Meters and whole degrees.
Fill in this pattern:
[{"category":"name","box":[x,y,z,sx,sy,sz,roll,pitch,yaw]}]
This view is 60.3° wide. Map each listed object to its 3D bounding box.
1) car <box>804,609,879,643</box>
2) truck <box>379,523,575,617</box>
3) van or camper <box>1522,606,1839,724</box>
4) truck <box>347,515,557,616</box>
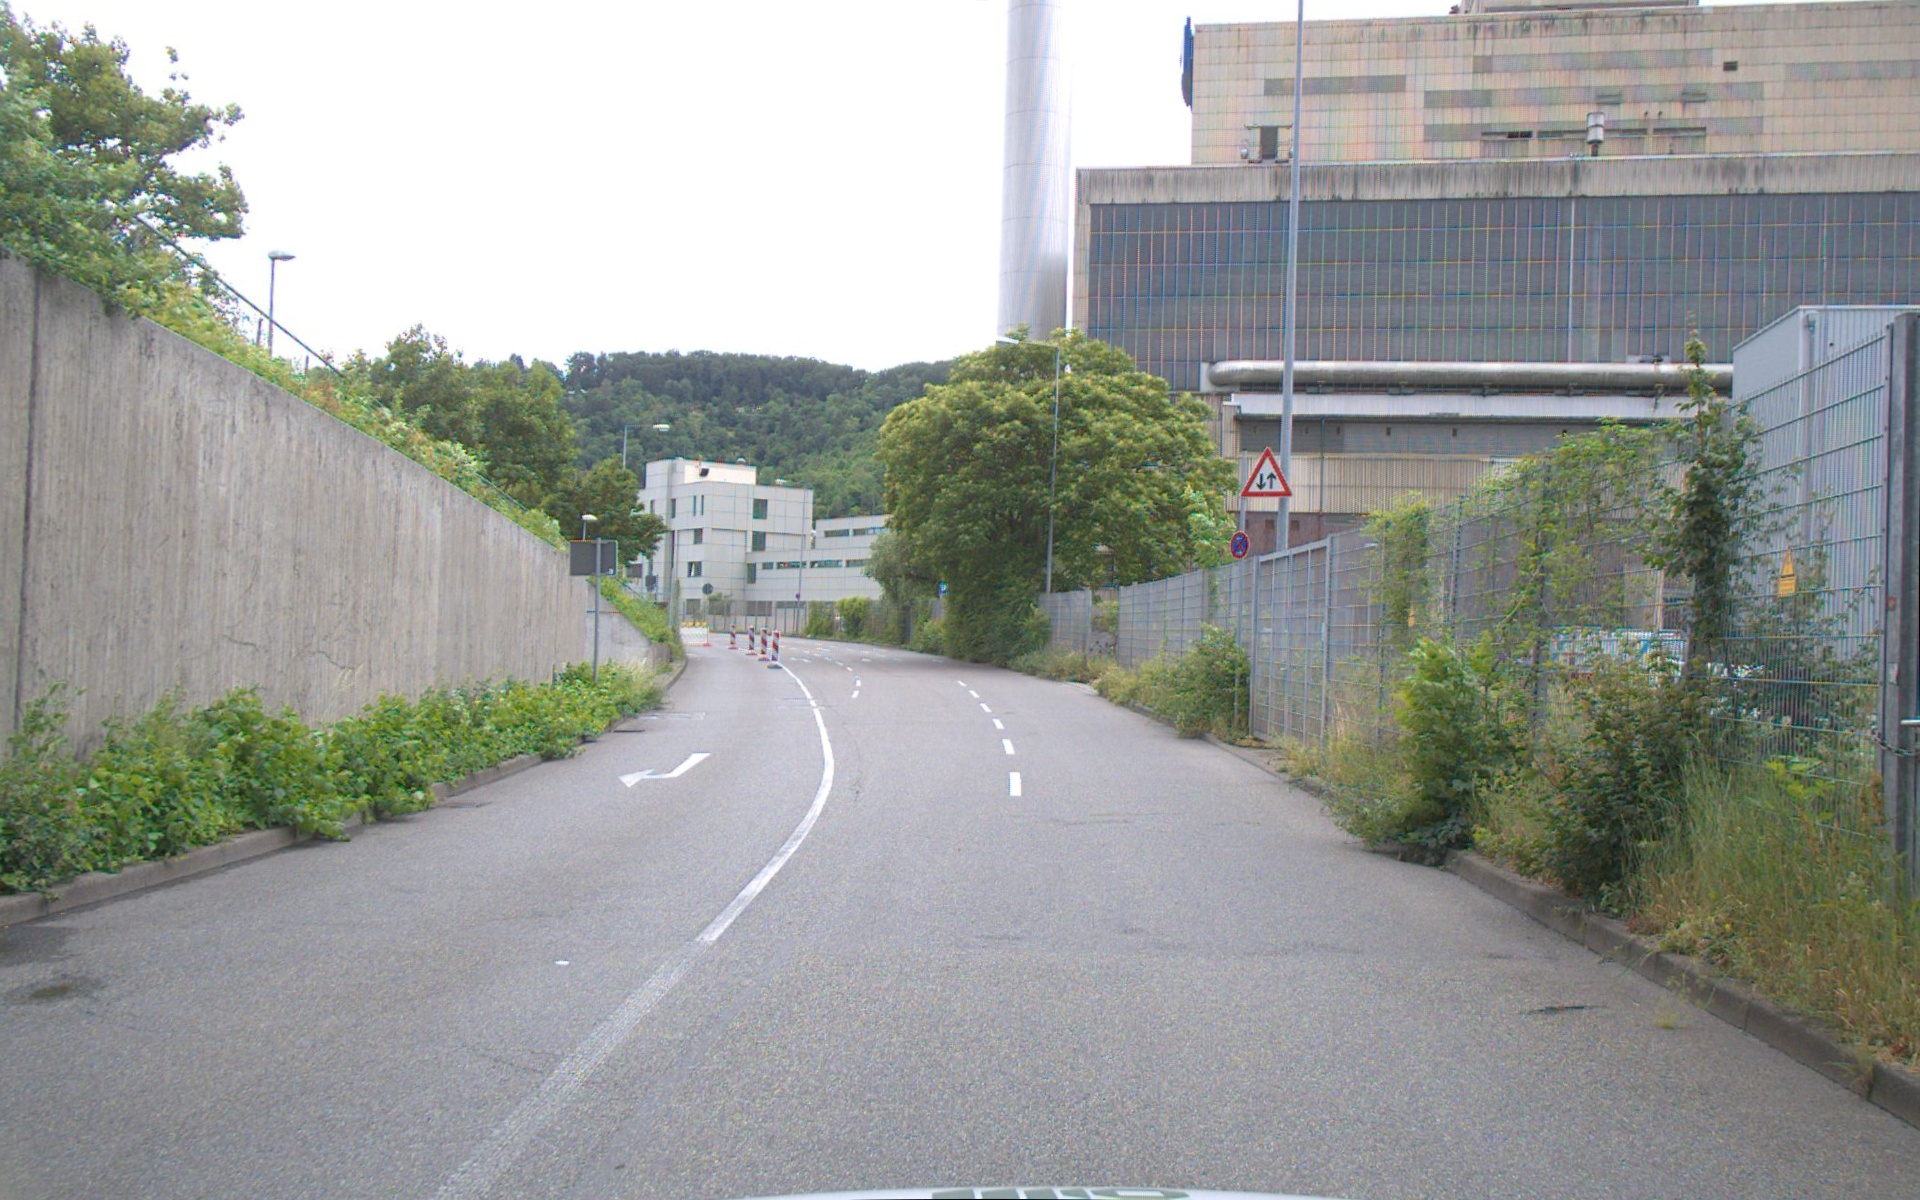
[{"category":"car","box":[-9.392,2.035,130.524,6.050,2.302,1.991,3,-1,37]},{"category":"truck","box":[-21.434,-1.250,73.639,7.776,3.601,3.014,3,-4,-36]},{"category":"van or camper","box":[31.118,2.858,71.780,11.591,4.611,5.473,2,-3,-10]},{"category":"truck","box":[-21.088,-1.321,68.785,7.765,3.601,3.018,3,-4,-33]}]
